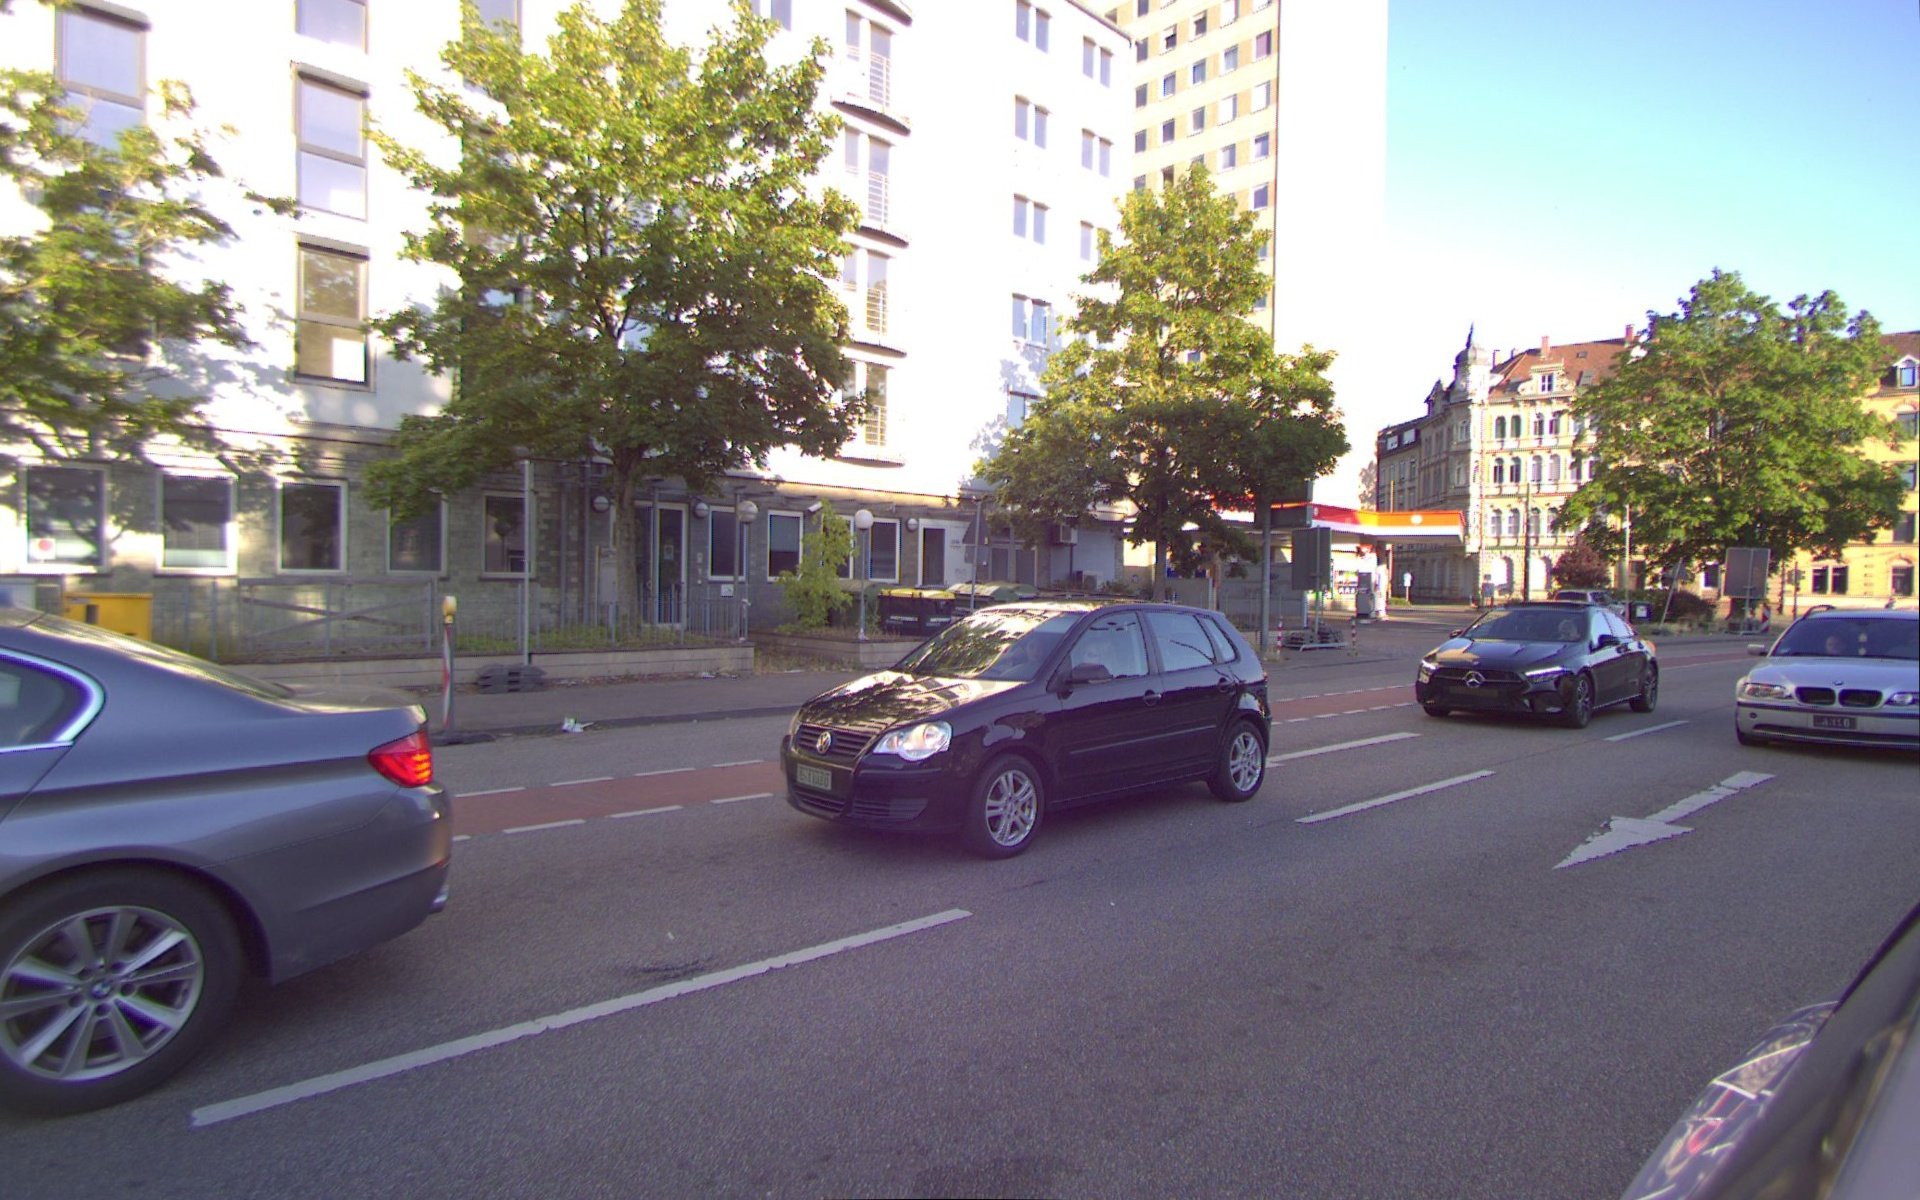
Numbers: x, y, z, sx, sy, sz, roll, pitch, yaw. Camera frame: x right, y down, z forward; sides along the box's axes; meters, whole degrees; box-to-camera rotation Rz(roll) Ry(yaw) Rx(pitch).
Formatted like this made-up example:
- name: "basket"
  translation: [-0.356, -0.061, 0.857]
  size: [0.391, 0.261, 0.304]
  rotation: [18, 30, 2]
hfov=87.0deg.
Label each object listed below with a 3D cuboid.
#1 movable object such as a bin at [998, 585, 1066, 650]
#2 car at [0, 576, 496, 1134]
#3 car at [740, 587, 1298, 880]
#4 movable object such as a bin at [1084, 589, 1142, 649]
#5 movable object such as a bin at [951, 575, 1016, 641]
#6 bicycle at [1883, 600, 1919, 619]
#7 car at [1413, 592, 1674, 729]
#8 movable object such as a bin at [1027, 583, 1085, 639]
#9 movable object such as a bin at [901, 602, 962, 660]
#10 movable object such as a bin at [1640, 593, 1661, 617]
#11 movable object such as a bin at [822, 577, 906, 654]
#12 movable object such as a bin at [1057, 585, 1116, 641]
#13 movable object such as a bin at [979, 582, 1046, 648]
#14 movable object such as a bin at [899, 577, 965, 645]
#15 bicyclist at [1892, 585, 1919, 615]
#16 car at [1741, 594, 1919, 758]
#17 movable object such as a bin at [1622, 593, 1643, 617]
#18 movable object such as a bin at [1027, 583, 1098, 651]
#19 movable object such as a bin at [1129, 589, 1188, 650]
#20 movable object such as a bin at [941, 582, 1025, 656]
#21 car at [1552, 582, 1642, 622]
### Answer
- name: "movable object such as a bin"
  translation: [1.563, 0.364, 22.073]
  size: [1.143, 1.345, 0.954]
  rotation: [0, 1, -44]
- name: "car"
  translation: [-3.896, 0.665, 2.612]
  size: [4.588, 1.467, 1.817]
  rotation: [0, 0, -43]
- name: "car"
  translation: [0.580, 0.657, 6.920]
  size: [3.804, 1.467, 1.583]
  rotation: [0, 0, -41]
- name: "movable object such as a bin"
  translation: [3.557, 0.417, 23.597]
  size: [0.938, 1.345, 0.954]
  rotation: [0, 1, -43]
- name: "movable object such as a bin"
  translation: [0.556, 0.170, 24.195]
  size: [1.143, 1.517, 1.033]
  rotation: [0, 1, -44]
- name: "bicycle"
  translation: [53.731, 0.537, 57.480]
  size: [1.920, 1.072, 0.444]
  rotation: [2, 1, 43]
- name: "car"
  translation: [7.478, 0.636, 12.825]
  size: [3.976, 1.467, 1.729]
  rotation: [0, 0, -42]
- name: "movable object such as a bin"
  translation: [2.404, 0.262, 25.357]
  size: [1.080, 1.345, 0.954]
  rotation: [0, 1, -44]
- name: "movable object such as a bin"
  translation: [-0.555, 0.575, 19.482]
  size: [0.851, 1.058, 0.807]
  rotation: [2, 1, 45]
- name: "movable object such as a bin"
  translation: [29.423, 0.210, 43.108]
  size: [0.675, 1.031, 0.544]
  rotation: [0, 1, -36]
- name: "movable object such as a bin"
  translation: [-1.942, 0.288, 20.413]
  size: [1.348, 1.479, 1.088]
  rotation: [2, 1, 45]
- name: "movable object such as a bin"
  translation: [3.084, 0.292, 24.628]
  size: [1.080, 1.299, 0.954]
  rotation: [0, 1, -44]
- name: "movable object such as a bin"
  translation: [1.204, 0.322, 23.203]
  size: [1.143, 1.467, 1.033]
  rotation: [0, 1, -44]
- name: "movable object such as a bin"
  translation: [-0.661, 0.237, 23.633]
  size: [1.143, 1.517, 1.033]
  rotation: [0, 1, -44]
- name: "bicyclist"
  translation: [53.763, 0.008, 57.539]
  size: [1.062, 1.669, 0.721]
  rotation: [2, 1, 43]
- name: "car"
  translation: [9.803, 0.662, 10.697]
  size: [4.363, 1.436, 1.673]
  rotation: [0, 0, -42]
- name: "movable object such as a bin"
  translation: [29.108, 0.220, 43.794]
  size: [0.675, 1.031, 0.544]
  rotation: [0, 1, -36]
- name: "movable object such as a bin"
  translation: [2.145, 0.336, 21.088]
  size: [1.143, 1.345, 0.954]
  rotation: [0, 1, -44]
- name: "movable object such as a bin"
  translation: [4.543, 0.432, 23.186]
  size: [0.938, 1.345, 0.954]
  rotation: [0, 1, -43]
- name: "movable object such as a bin"
  translation: [0.469, 0.362, 20.873]
  size: [1.348, 1.441, 1.088]
  rotation: [2, 2, 45]
- name: "car"
  translation: [25.771, 0.037, 40.915]
  size: [3.723, 1.535, 1.691]
  rotation: [-1, 2, -34]
